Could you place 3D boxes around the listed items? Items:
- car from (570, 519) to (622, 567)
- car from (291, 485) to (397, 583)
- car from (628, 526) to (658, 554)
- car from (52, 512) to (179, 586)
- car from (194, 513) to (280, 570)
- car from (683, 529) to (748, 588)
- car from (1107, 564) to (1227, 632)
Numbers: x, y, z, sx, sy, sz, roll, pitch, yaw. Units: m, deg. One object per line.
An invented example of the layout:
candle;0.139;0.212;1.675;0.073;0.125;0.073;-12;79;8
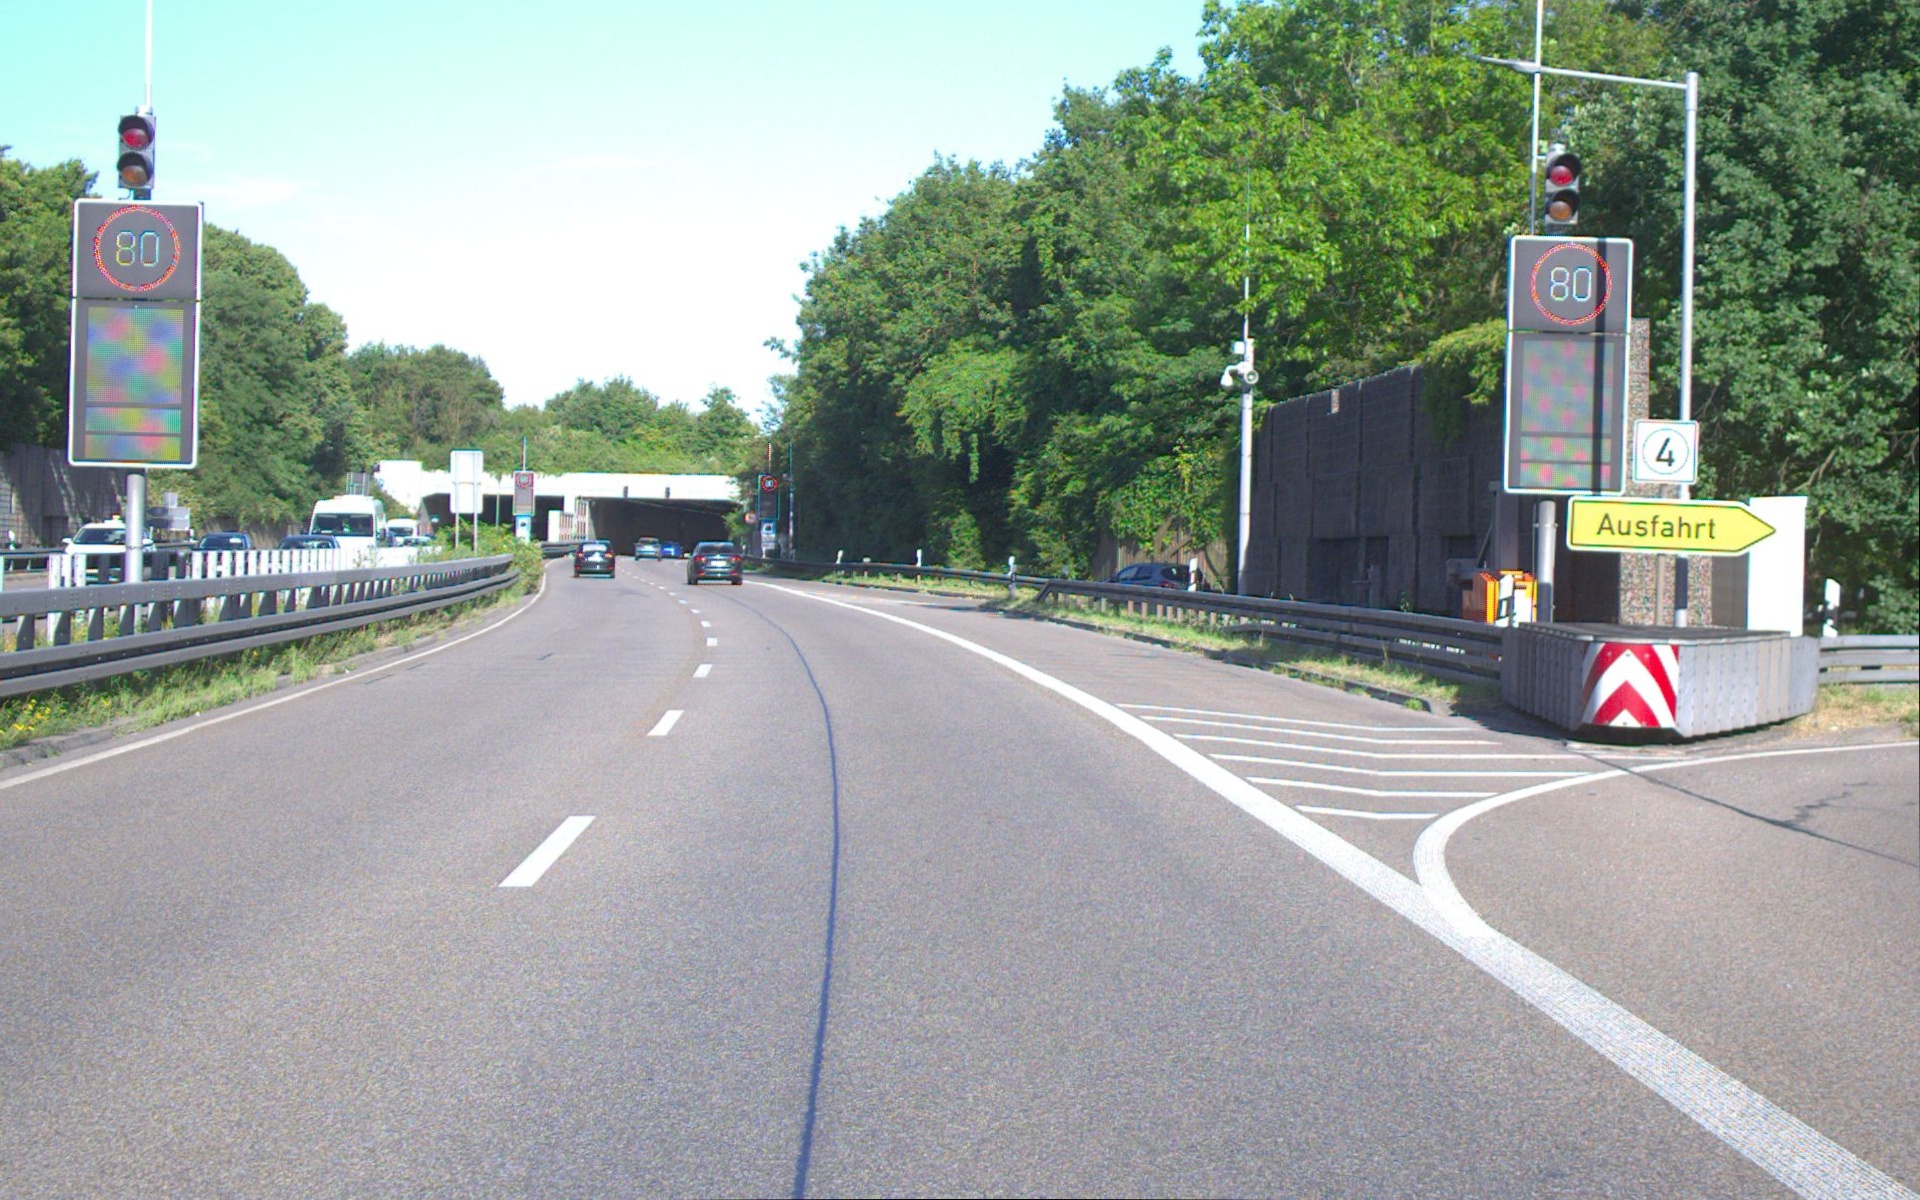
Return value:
car;-15.219;-2.403;143.726;1.993;1.919;4.001;2;1;-7
car;-18.082;-1.972;101.184;2.121;2.674;6.589;3;2;-3
car;-22.915;-4.321;248.420;1.993;1.919;4.001;2;1;-7
car;-19.999;-1.231;81.568;1.993;1.590;4.622;3;2;-3
car;-22.360;-1.835;106.494;1.901;1.614;4.697;3;2;-4
car;-8.522;-1.472;119.574;1.993;1.919;4.001;2;1;-7
car;5.457;-0.064;91.136;1.666;1.546;4.002;3;2;-19
